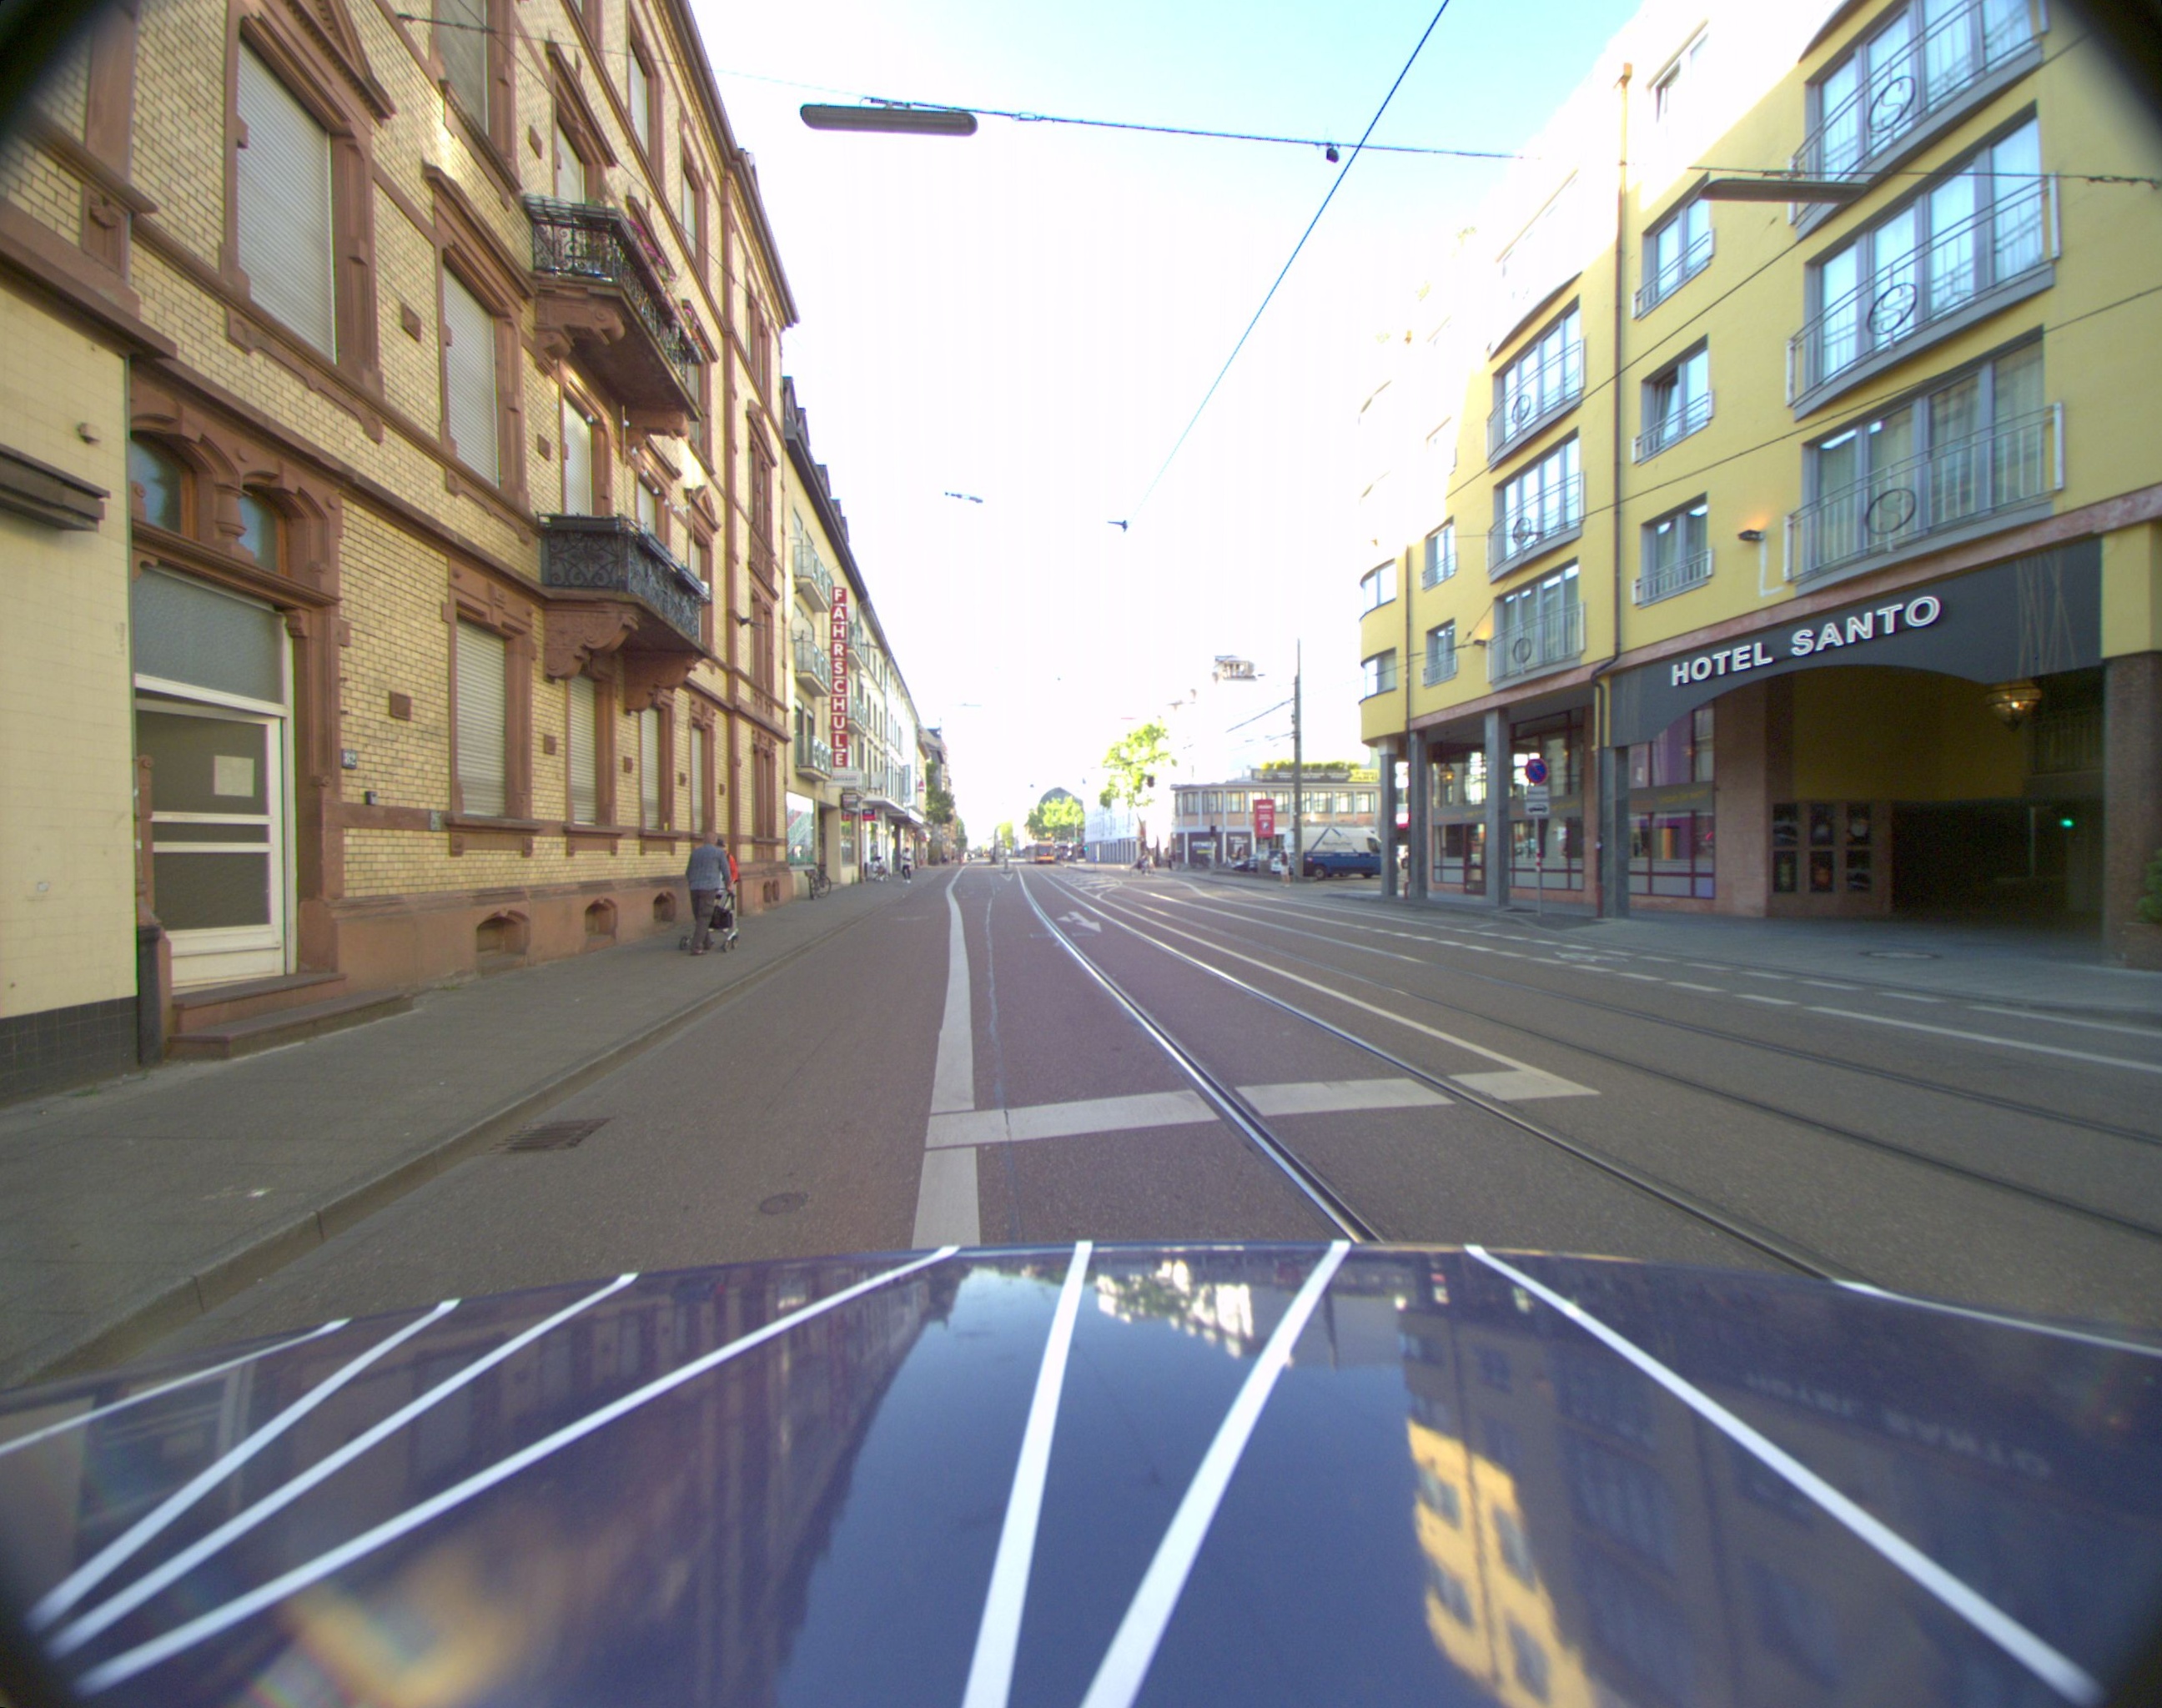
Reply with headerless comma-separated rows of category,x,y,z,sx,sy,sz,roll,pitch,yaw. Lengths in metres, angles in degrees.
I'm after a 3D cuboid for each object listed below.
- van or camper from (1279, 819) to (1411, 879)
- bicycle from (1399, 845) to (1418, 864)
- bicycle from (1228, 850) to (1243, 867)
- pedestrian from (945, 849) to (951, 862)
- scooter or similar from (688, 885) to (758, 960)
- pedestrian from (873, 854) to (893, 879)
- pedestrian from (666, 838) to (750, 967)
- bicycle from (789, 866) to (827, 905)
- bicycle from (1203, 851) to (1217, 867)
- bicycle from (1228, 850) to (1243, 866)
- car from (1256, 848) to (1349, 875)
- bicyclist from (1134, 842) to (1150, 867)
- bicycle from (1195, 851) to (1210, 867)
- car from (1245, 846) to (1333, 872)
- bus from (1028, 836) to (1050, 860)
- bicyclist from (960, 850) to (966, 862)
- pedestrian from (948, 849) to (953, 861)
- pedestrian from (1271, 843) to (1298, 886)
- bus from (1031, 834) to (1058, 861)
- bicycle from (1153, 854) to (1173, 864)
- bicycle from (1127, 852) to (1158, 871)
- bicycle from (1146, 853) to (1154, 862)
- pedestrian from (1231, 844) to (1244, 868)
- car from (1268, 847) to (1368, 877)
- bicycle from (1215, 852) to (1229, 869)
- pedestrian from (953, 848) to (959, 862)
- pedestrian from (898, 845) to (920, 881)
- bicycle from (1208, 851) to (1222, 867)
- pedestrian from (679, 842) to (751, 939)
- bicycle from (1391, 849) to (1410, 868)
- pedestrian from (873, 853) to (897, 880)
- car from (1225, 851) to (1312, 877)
van or camper,12.740,-0.251,36.853,5.623,2.810,2.314,0,0,-7
bicycle,21.010,0.052,48.780,0.432,1.180,1.831,0,0,0
bicycle,11.258,0.323,55.380,0.449,1.180,1.830,0,0,-10
pedestrian,-17.187,0.178,98.056,0.651,1.760,0.696,0,1,-3
scooter or similar,-5.548,1.052,11.801,0.808,1.064,0.521,4,0,-8
pedestrian,-10.123,0.646,38.803,0.708,1.167,1.013,5,-1,-27
pedestrian,-5.447,0.697,11.145,0.808,1.789,0.761,3,0,-8
bicycle,-8.154,0.906,22.792,0.557,1.055,2.309,2,0,-7
bicycle,9.564,0.353,56.389,0.441,1.180,1.830,0,0,-8
bicycle,11.440,0.280,56.291,0.449,1.180,1.830,0,0,-10
car,12.250,0.404,42.241,4.603,1.467,1.878,0,0,-7
bicyclist,3.867,0.026,48.221,0.838,1.541,0.690,0,3,-14
bicycle,9.024,0.367,56.604,0.447,1.180,1.829,0,0,-13
car,12.157,0.275,44.605,4.603,1.467,1.878,0,0,-7
bus,-6.744,-0.946,120.772,2.820,3.547,13.669,-1,0,-6
bicyclist,-15.068,0.260,97.254,0.677,1.604,0.837,-1,1,-9
pedestrian,-16.926,0.080,98.583,0.651,1.569,0.682,-1,1,-14
pedestrian,8.706,0.452,32.554,0.836,1.822,0.908,0,0,-8
bus,-5.249,-0.860,107.466,2.820,3.547,13.669,-1,0,-7
bicycle,8.149,0.456,75.506,1.850,0.906,0.389,-2,-3,-2
bicycle,3.889,0.463,48.246,1.832,1.164,0.682,0,3,-14
bicycle,6.885,0.357,75.605,0.389,0.907,1.850,-2,1,-6
pedestrian,11.272,0.158,54.739,0.683,1.687,0.683,0,0,-9
car,12.232,0.416,39.353,4.603,1.467,1.878,0,0,-7
bicycle,10.479,0.482,56.569,0.444,1.180,1.830,0,0,-10
pedestrian,-16.266,0.119,98.913,0.651,1.706,0.805,-1,1,-14
pedestrian,-8.854,0.459,39.124,0.706,1.801,0.680,5,0,8
bicycle,9.980,0.378,56.630,0.449,1.180,1.830,0,0,-10
pedestrian,-6.464,0.634,13.471,0.800,1.618,0.825,5,-1,-7
bicycle,20.497,0.286,48.794,0.432,1.180,1.831,0,0,0
pedestrian,-9.786,0.636,37.865,0.833,1.248,0.705,6,-1,-42
car,11.559,0.614,46.951,4.910,1.574,1.878,0,0,-7
